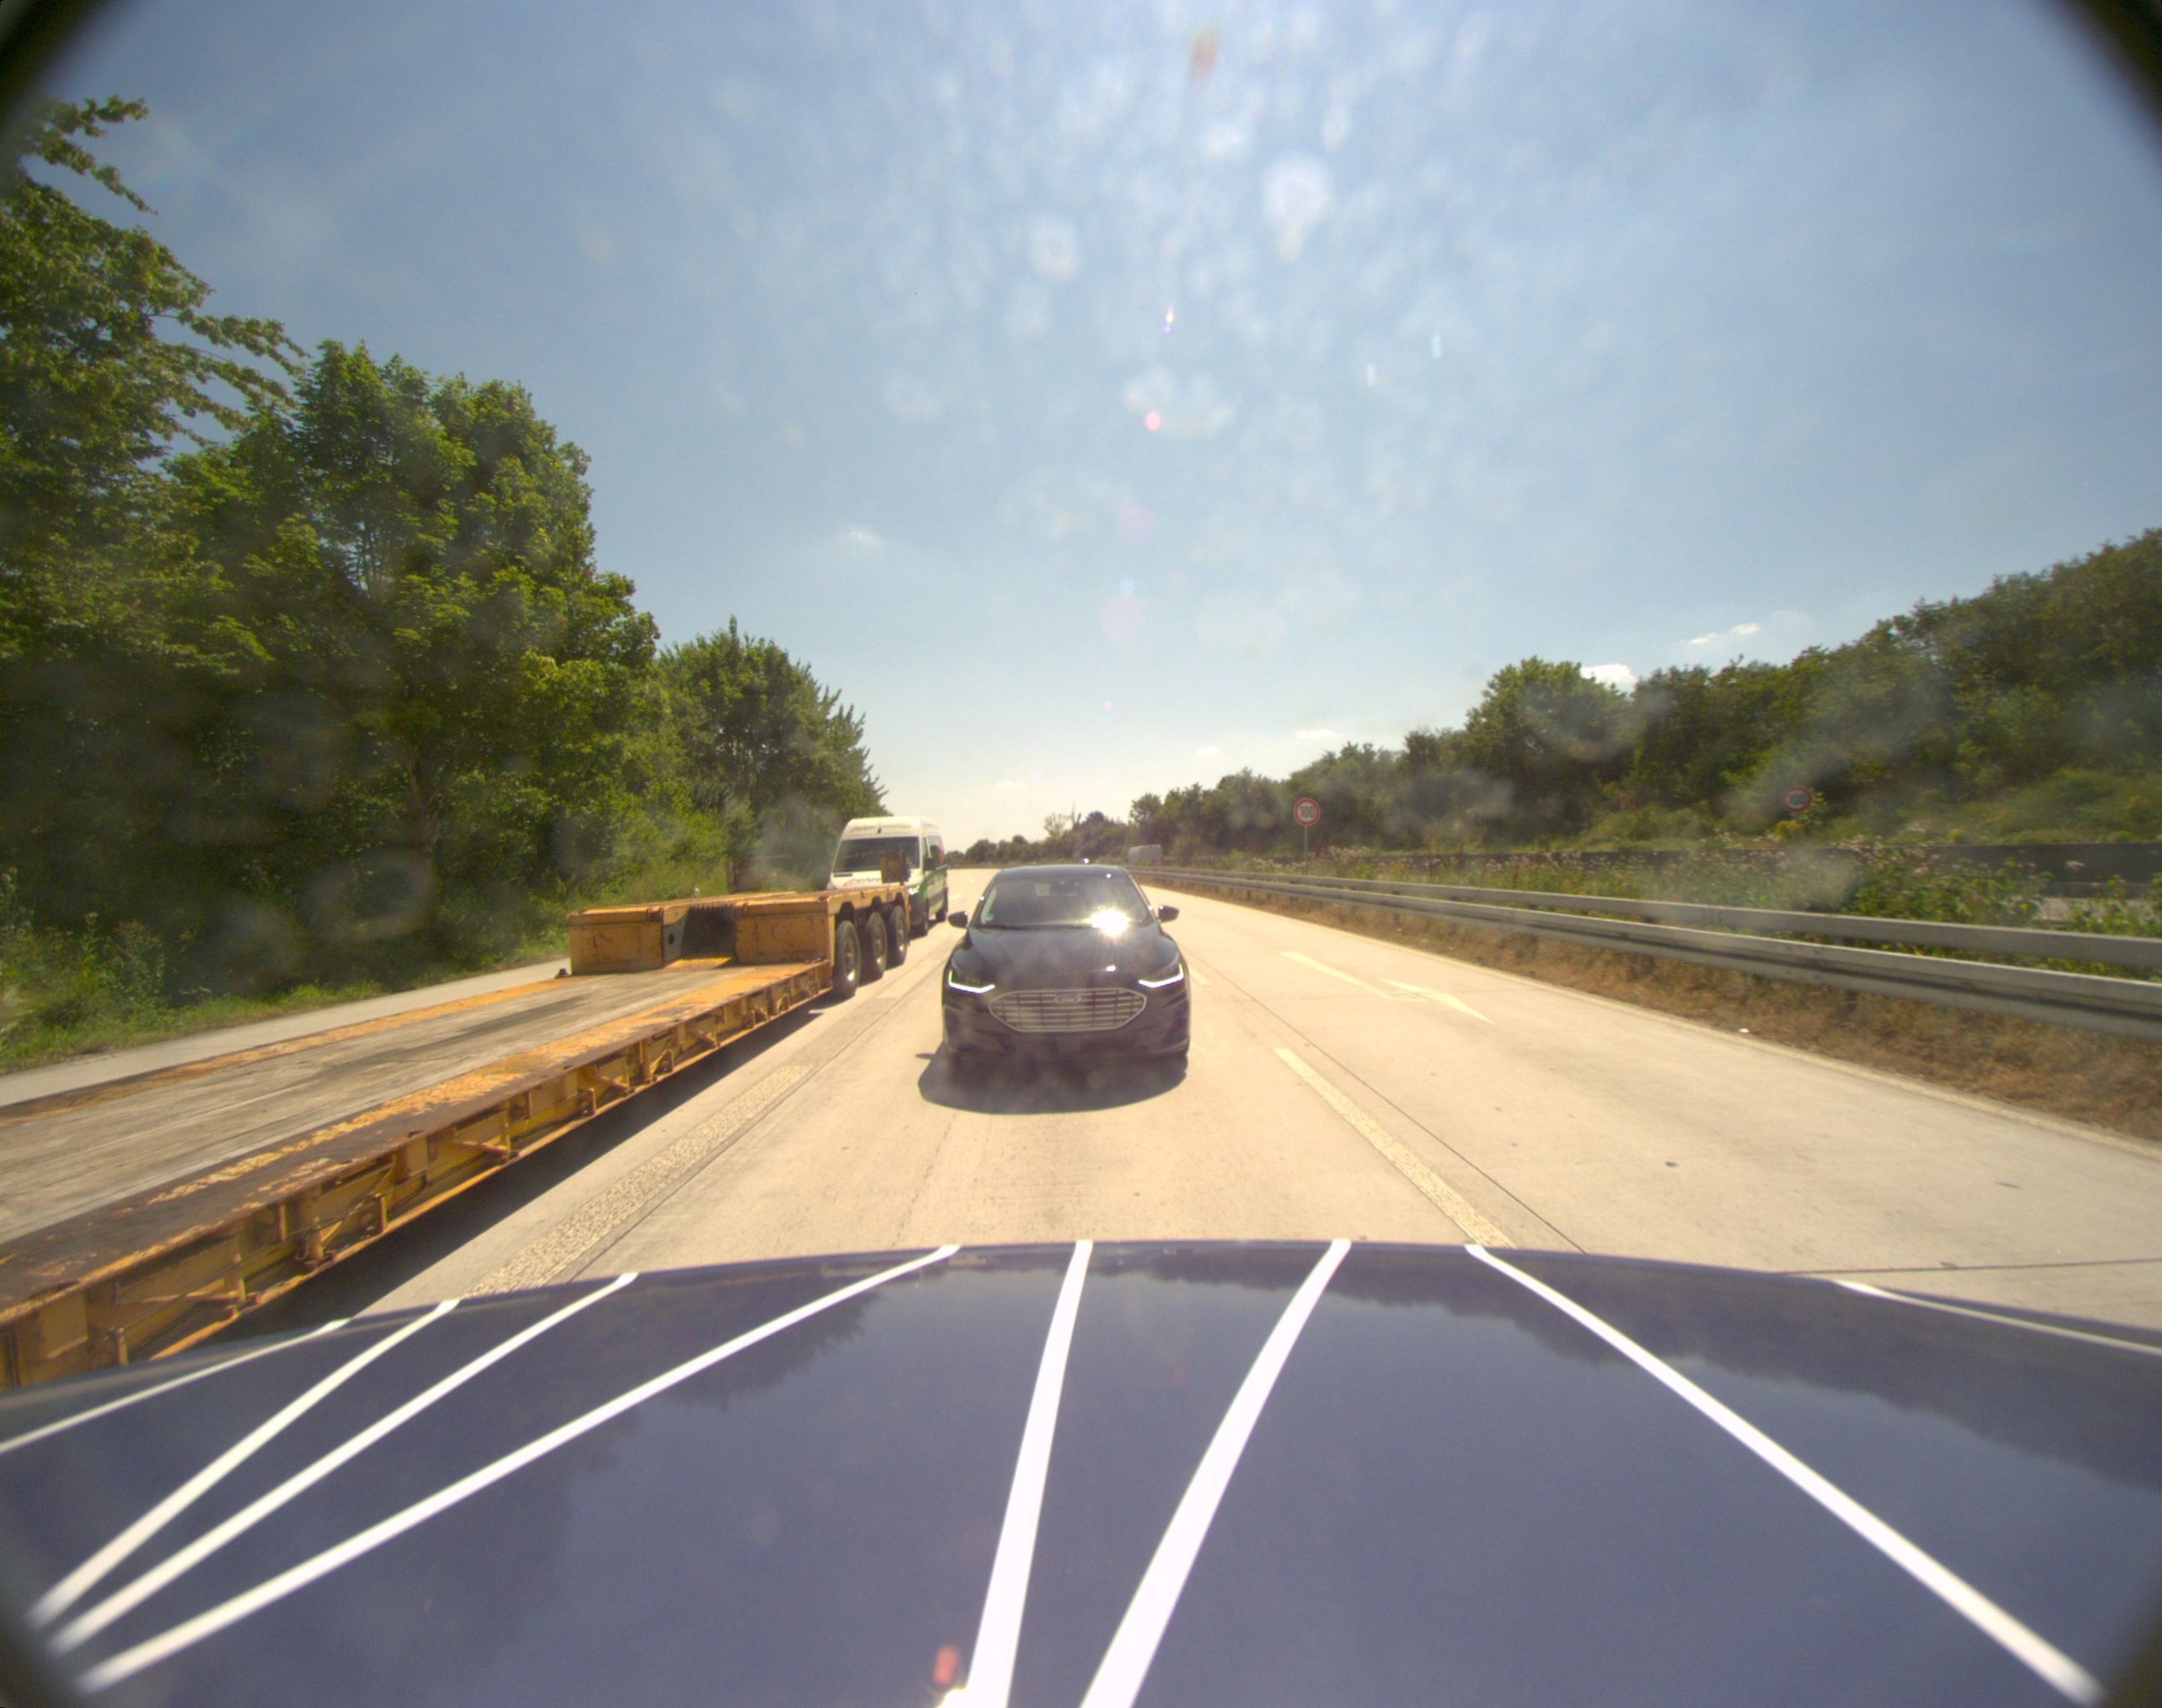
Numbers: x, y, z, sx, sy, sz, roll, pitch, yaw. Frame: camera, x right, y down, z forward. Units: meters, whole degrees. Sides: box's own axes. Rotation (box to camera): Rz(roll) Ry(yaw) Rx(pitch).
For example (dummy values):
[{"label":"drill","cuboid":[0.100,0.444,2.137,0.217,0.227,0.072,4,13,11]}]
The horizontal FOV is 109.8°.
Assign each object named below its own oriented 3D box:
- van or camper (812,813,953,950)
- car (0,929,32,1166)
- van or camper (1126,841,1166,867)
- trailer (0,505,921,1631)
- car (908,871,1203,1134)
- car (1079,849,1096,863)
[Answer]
[{"label":"van or camper","cuboid":[-4.294,0.501,17.557,2.069,2.559,5.904,-2,1,-5]},{"label":"car","cuboid":[-7.570,1.256,2.525,1.772,1.453,4.597,-2,1,-1]},{"label":"van or camper","cuboid":[5.446,-0.001,64.592,2.179,2.002,5.634,-2,1,-8]},{"label":"trailer","cuboid":[-4.025,0.524,3.806,3.035,2.578,16.355,-2,0,0]},{"label":"car","cuboid":[-0.126,0.952,6.754,1.731,1.430,4.304,-2,0,1]},{"label":"car","cuboid":[0.909,0.264,109.495,1.817,2.002,3.996,-2,1,-9]}]
